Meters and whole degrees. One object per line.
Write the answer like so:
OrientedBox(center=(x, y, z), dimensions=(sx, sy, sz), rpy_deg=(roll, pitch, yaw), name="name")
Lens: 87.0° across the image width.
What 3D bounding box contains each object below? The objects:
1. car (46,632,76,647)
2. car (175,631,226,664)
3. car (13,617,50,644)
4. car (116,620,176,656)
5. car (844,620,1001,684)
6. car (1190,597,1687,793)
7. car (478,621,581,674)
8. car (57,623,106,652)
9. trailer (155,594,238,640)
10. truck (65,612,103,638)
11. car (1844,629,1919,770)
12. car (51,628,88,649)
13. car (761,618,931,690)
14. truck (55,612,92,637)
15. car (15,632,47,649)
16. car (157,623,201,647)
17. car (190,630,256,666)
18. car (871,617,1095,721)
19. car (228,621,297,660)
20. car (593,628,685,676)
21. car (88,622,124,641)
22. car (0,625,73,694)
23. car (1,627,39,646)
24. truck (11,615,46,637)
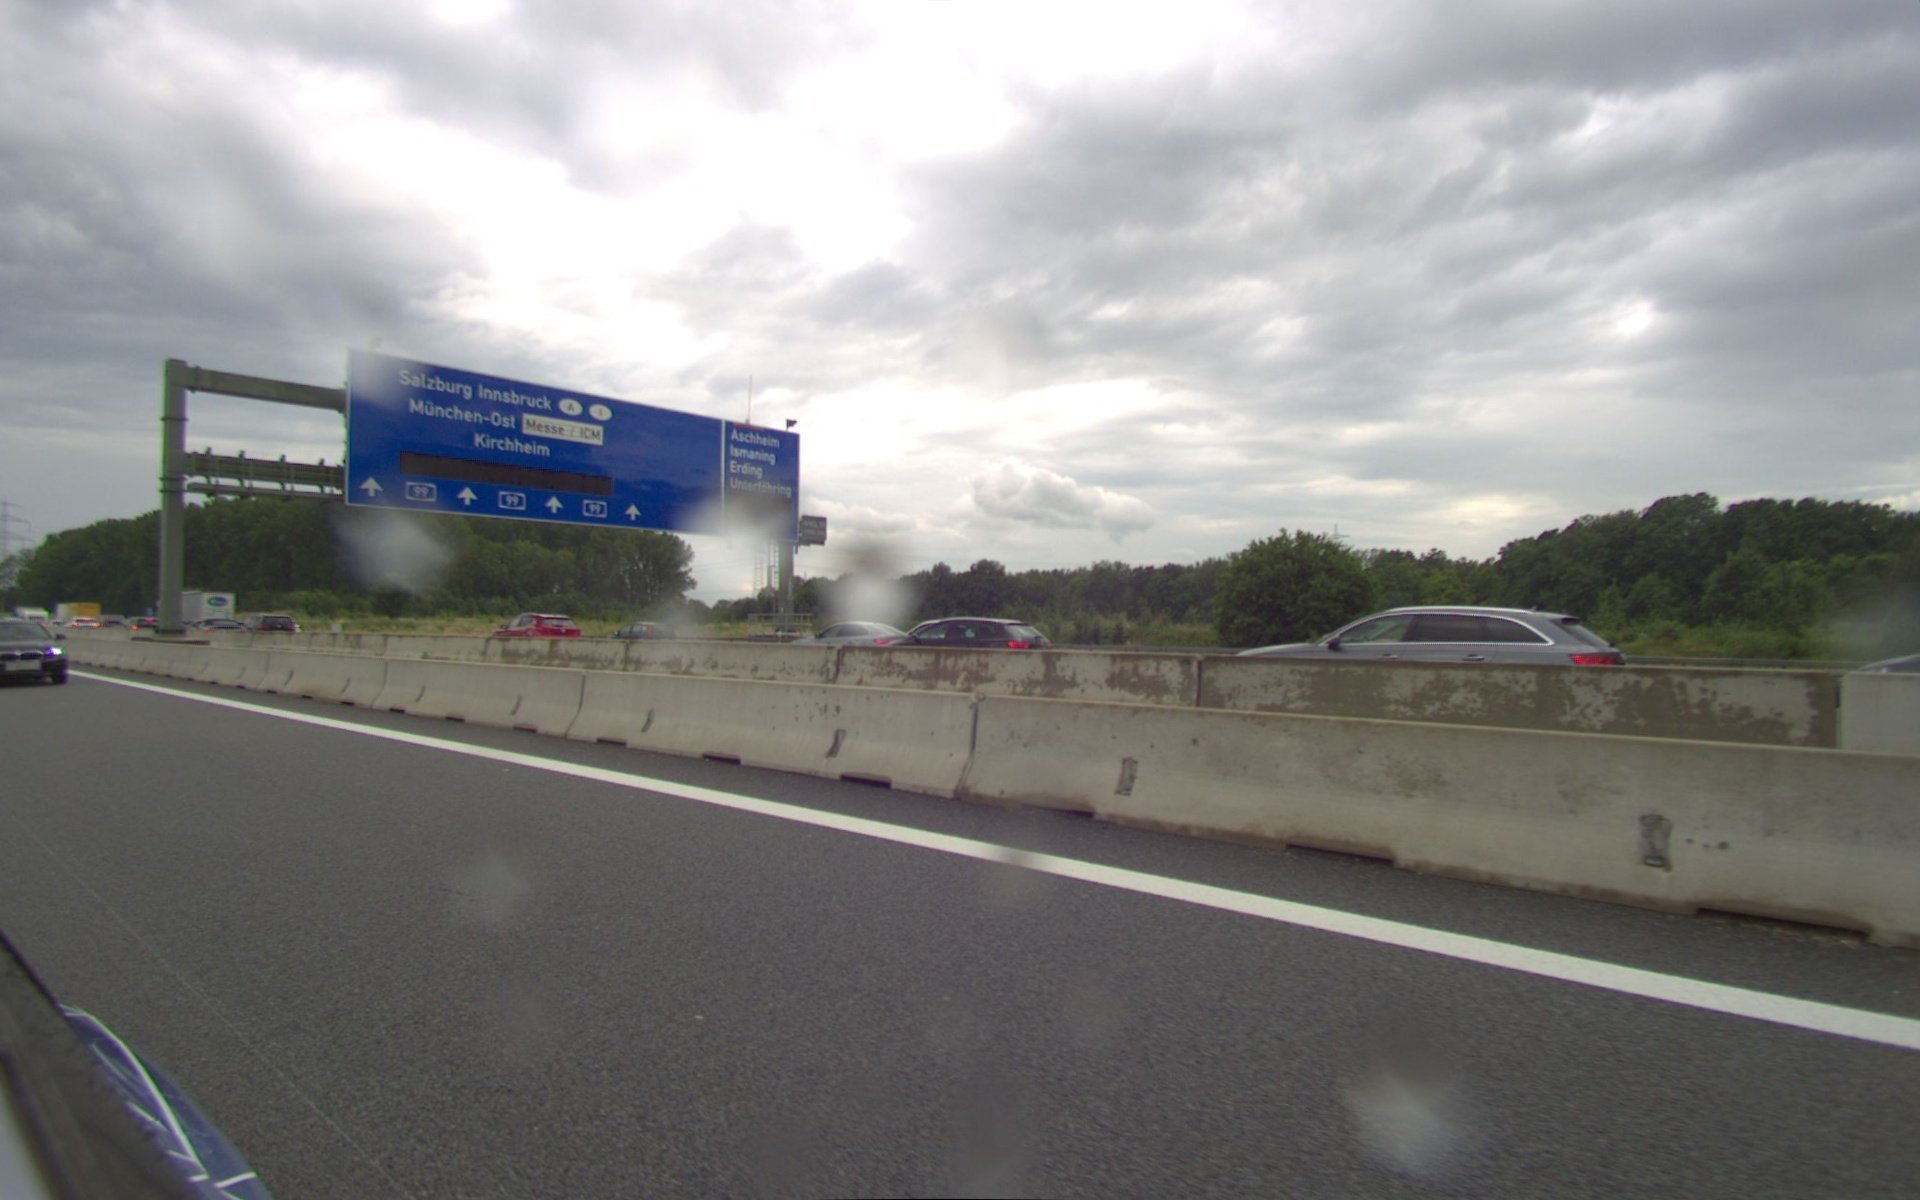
OrientedBox(center=(-104.506, 4.584, 117.601), dimensions=(4.695, 1.728, 1.973), rpy_deg=(-2, -1, 40), name="car")
OrientedBox(center=(-49.531, 3.087, 65.972), dimensions=(3.998, 2.029, 1.863), rpy_deg=(-2, -1, 41), name="car")
OrientedBox(center=(-119.662, 3.944, 130.350), dimensions=(6.555, 3.302, 2.634), rpy_deg=(-2, -1, 39), name="car")
OrientedBox(center=(-48.661, 2.234, 60.458), dimensions=(4.757, 2.029, 1.973), rpy_deg=(-2, -1, 41), name="car")
OrientedBox(center=(-1.345, 1.707, 34.460), dimensions=(5.222, 1.967, 2.219), rpy_deg=(-2, -1, 41), name="car")
OrientedBox(center=(5.781, 1.008, 12.697), dimensions=(5.222, 1.967, 2.219), rpy_deg=(-2, -1, 41), name="car")
OrientedBox(center=(-15.304, 1.653, 35.881), dimensions=(4.334, 1.758, 1.661), rpy_deg=(-2, -1, 41), name="car")
OrientedBox(center=(-61.541, 2.605, 70.880), dimensions=(4.359, 1.906, 1.973), rpy_deg=(-2, -1, 41), name="car")
OrientedBox(center=(-70.974, 1.620, 93.917), dimensions=(13.798, 4.059, 3.206), rpy_deg=(-2, -1, 40), name="trailer")
OrientedBox(center=(-126.494, 3.548, 146.134), dimensions=(9.575, 3.640, 2.848), rpy_deg=(-1, -1, 41), name="truck")
OrientedBox(center=(15.661, 1.398, 13.916), dimensions=(5.222, 1.967, 1.973), rpy_deg=(-2, -1, 41), name="car")
OrientedBox(center=(-83.515, 3.562, 94.928), dimensions=(4.757, 1.887, 1.973), rpy_deg=(-2, -1, 41), name="car")
OrientedBox(center=(-3.541, 1.579, 30.851), dimensions=(5.222, 1.967, 2.219), rpy_deg=(-2, -1, 41), name="car")
OrientedBox(center=(-133.486, 3.729, 152.263), dimensions=(10.306, 3.640, 2.848), rpy_deg=(-1, -1, 41), name="truck")
OrientedBox(center=(-100.029, 4.375, 108.955), dimensions=(4.695, 1.728, 1.973), rpy_deg=(-2, -1, 40), name="car")
OrientedBox(center=(-62.960, 2.812, 81.548), dimensions=(4.359, 1.906, 1.973), rpy_deg=(-2, -1, 41), name="car")
OrientedBox(center=(-34.961, 2.244, 47.976), dimensions=(3.998, 1.608, 1.711), rpy_deg=(-2, -1, 41), name="car")
OrientedBox(center=(0.417, 1.421, 22.241), dimensions=(4.762, 2.029, 1.973), rpy_deg=(-2, -1, 41), name="car")
OrientedBox(center=(-38.089, 2.202, 55.248), dimensions=(4.757, 2.029, 1.973), rpy_deg=(-2, -1, 41), name="car")
OrientedBox(center=(-14.645, 2.310, 46.097), dimensions=(4.559, 2.029, 1.888), rpy_deg=(-2, -1, 41), name="car")
OrientedBox(center=(-85.548, 3.168, 101.326), dimensions=(5.389, 1.887, 1.973), rpy_deg=(-2, -1, 41), name="car")
OrientedBox(center=(-21.248, 1.286, 22.432), dimensions=(3.998, 1.426, 1.898), rpy_deg=(-2, -2, 41), name="car")
OrientedBox(center=(-86.418, 3.355, 93.010), dimensions=(4.868, 1.728, 1.973), rpy_deg=(-2, -1, 40), name="car")
OrientedBox(center=(-146.137, 4.148, 158.732), dimensions=(9.194, 3.315, 2.880), rpy_deg=(-2, -1, 40), name="truck")
